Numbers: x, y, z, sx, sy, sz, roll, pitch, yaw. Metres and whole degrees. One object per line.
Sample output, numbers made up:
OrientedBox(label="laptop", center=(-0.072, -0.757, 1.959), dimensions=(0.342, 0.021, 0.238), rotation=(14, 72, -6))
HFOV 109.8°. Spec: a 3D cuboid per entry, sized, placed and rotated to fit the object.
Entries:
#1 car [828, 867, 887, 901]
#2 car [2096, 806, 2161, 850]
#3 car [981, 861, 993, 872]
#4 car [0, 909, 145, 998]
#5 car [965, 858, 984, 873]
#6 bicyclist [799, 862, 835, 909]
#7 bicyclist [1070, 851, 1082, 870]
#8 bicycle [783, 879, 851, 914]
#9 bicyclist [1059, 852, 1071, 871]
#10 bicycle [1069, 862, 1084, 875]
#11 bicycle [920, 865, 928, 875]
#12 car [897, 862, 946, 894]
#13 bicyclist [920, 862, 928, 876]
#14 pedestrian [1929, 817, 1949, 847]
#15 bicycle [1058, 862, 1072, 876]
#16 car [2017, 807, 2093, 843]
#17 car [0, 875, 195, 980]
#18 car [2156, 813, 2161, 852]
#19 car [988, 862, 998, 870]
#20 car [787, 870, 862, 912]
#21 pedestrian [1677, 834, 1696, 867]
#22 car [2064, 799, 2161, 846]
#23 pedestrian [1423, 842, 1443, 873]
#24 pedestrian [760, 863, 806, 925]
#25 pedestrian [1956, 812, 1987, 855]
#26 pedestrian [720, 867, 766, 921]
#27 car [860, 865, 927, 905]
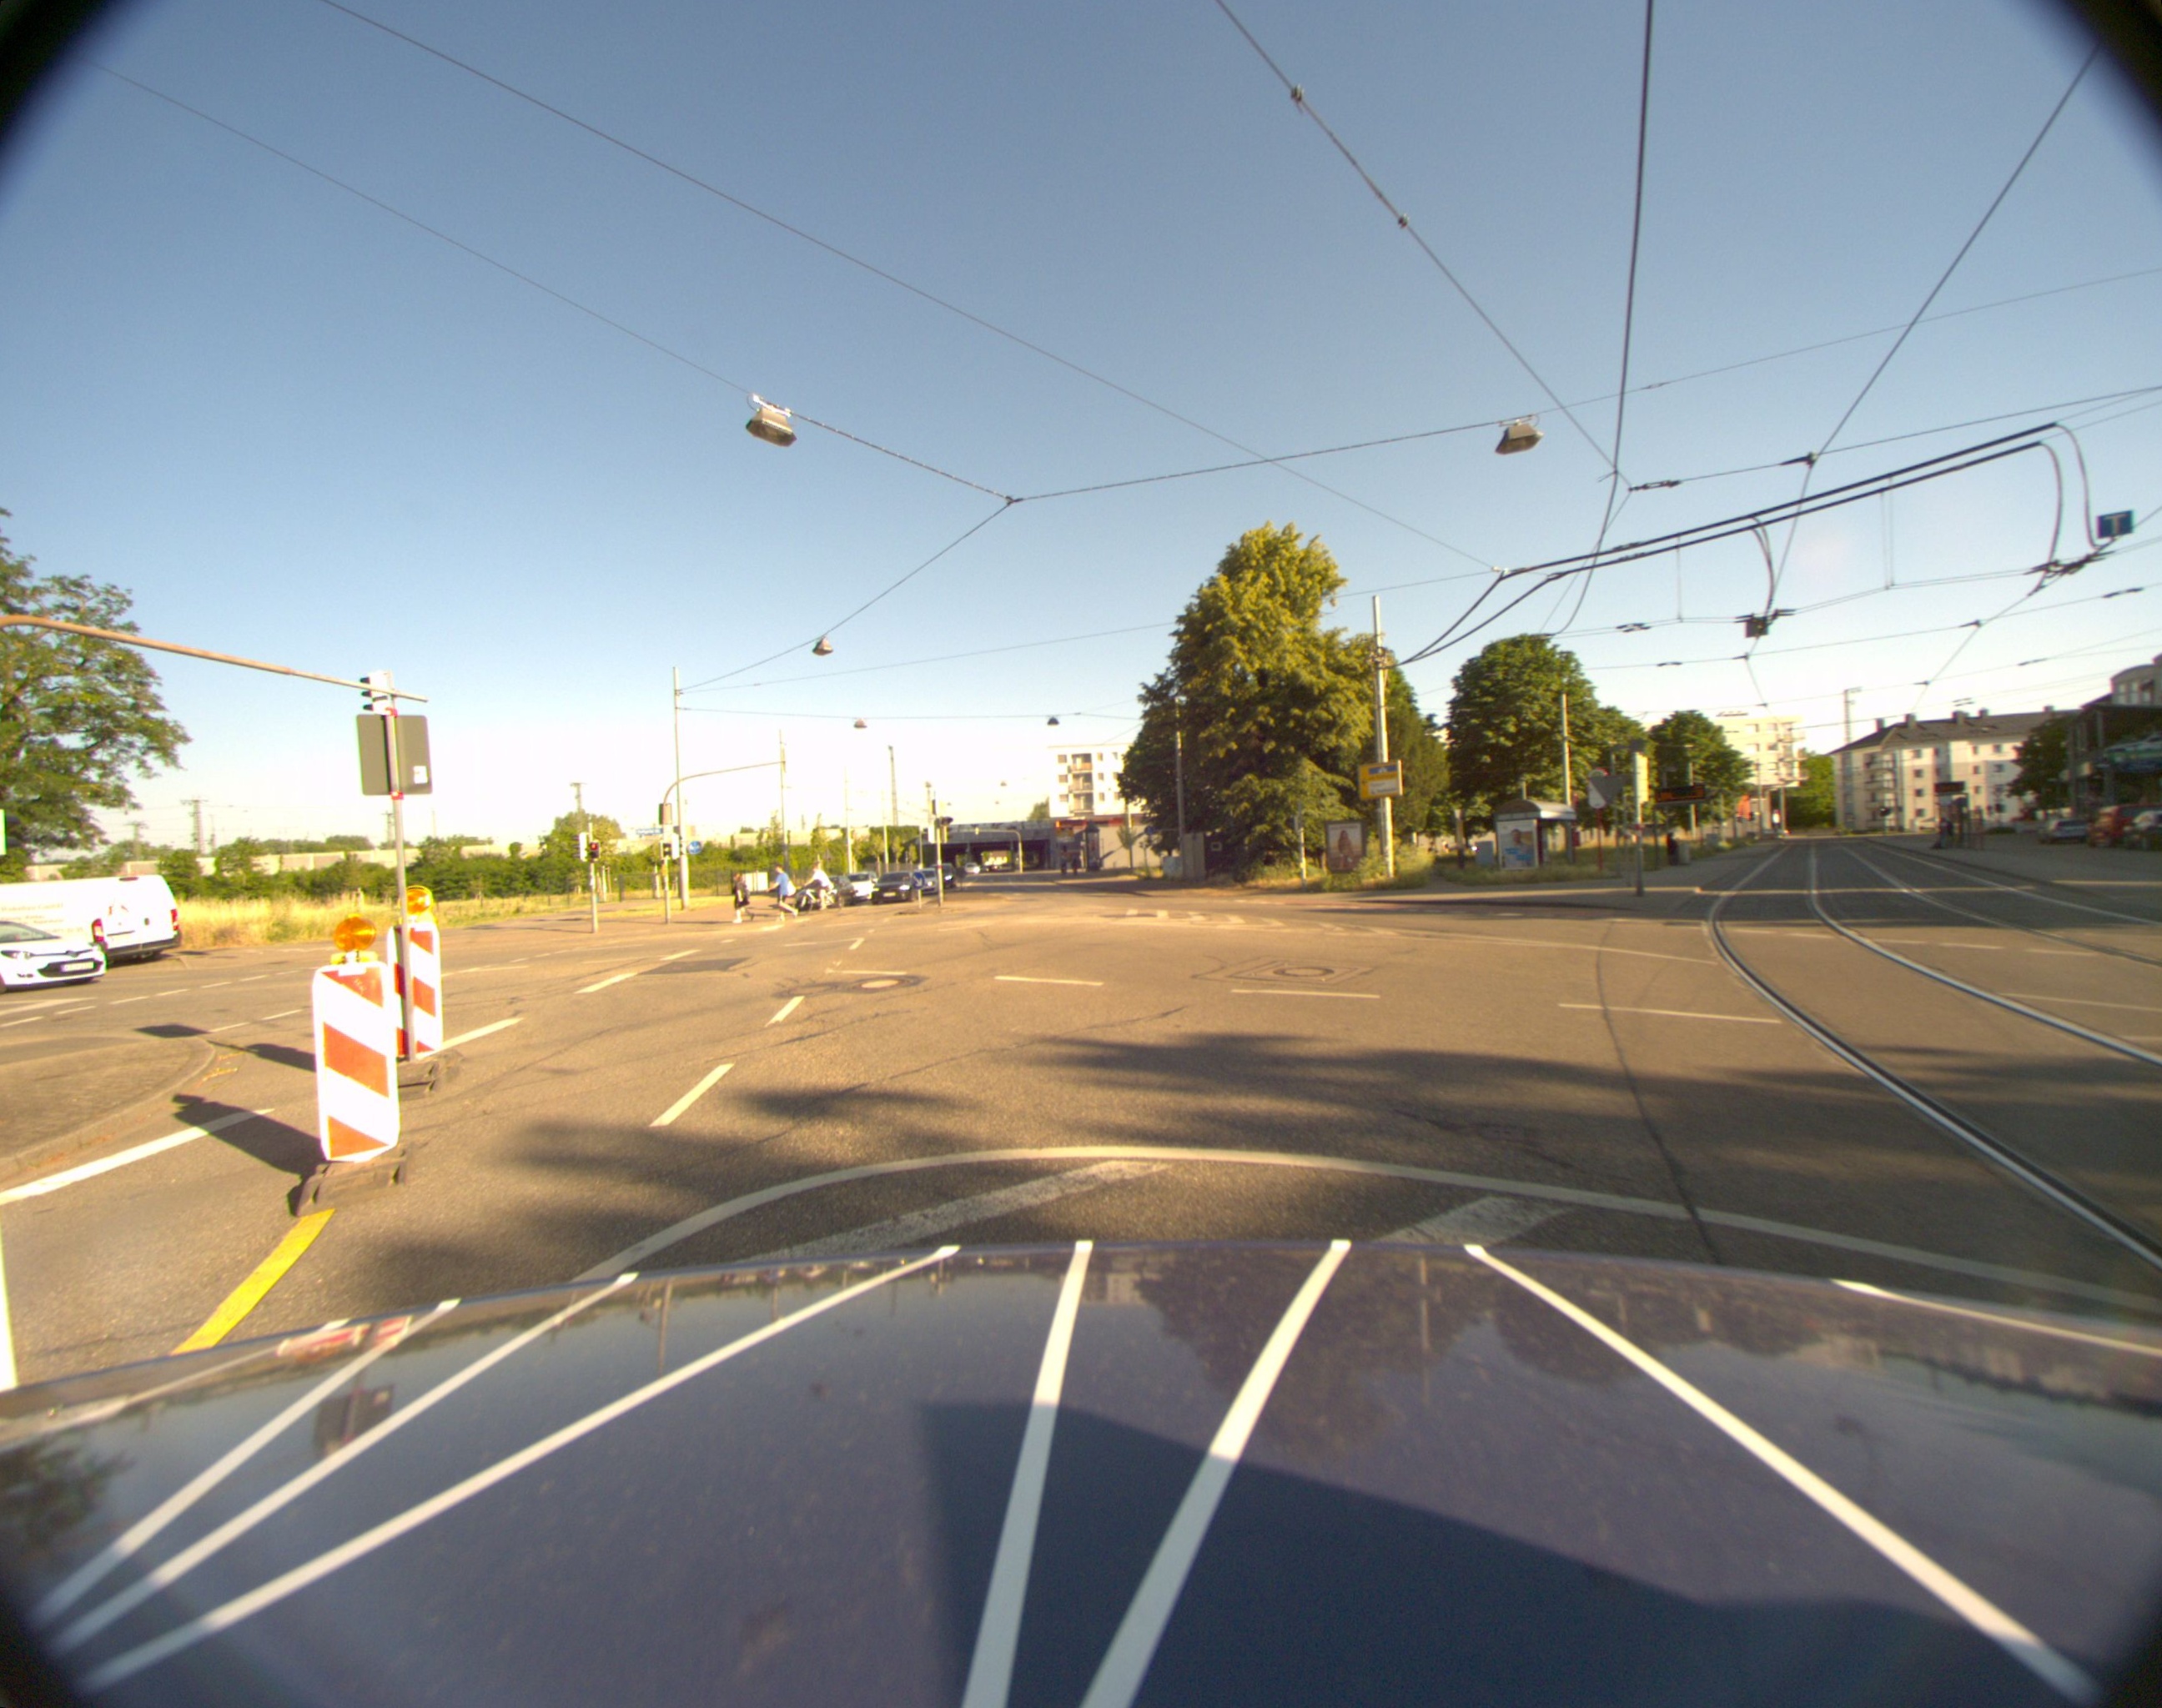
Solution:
OrientedBox(label="car", center=(-11.773, 1.551, 40.287), dimensions=(1.999, 1.558, 4.273), rotation=(-3, 0, -3))
OrientedBox(label="car", center=(45.086, -1.132, 32.106), dimensions=(1.840, 1.658, 4.378), rotation=(-5, -2, 44))
OrientedBox(label="car", center=(-16.212, 2.183, 130.893), dimensions=(2.000, 1.694, 3.998), rotation=(-3, 0, -7))
OrientedBox(label="car", center=(-21.039, 1.958, 14.524), dimensions=(3.775, 1.460, 1.705), rotation=(-3, 0, -7))
OrientedBox(label="car", center=(-12.929, 1.403, 92.381), dimensions=(1.999, 1.693, 3.999), rotation=(-3, 0, -4))
OrientedBox(label="bicyclist", center=(-9.660, 1.145, 27.816), dimensions=(1.042, 1.619, 0.713), rotation=(-3, 1, -9))
OrientedBox(label="bicyclist", center=(-0.427, 0.570, 63.108), dimensions=(0.661, 1.523, 1.036), rotation=(-3, 1, -14))
OrientedBox(label="bicycle", center=(-9.633, 1.537, 27.821), dimensions=(2.201, 1.135, 0.700), rotation=(-3, 1, -11))
OrientedBox(label="bicyclist", center=(-1.330, 0.647, 62.658), dimensions=(0.698, 1.523, 1.036), rotation=(-3, 1, -15))
OrientedBox(label="bicycle", center=(-0.380, 1.194, 63.023), dimensions=(0.664, 1.063, 2.017), rotation=(-3, 0, -14))
OrientedBox(label="bicycle", center=(-18.395, 1.880, 89.019), dimensions=(0.663, 1.063, 2.018), rotation=(-3, 0, -5))
OrientedBox(label="car", center=(-8.971, 1.328, 43.111), dimensions=(1.999, 1.558, 4.455), rotation=(-3, 0, -3))
OrientedBox(label="bicyclist", center=(-18.412, 1.707, 89.019), dimensions=(0.777, 1.596, 0.857), rotation=(-2, 0, -6))
OrientedBox(label="pedestrian", center=(43.970, -1.128, 38.946), dimensions=(0.679, 1.492, 0.567), rotation=(-3, 0, -34))
OrientedBox(label="bicycle", center=(-1.306, 1.233, 62.687), dimensions=(0.664, 1.063, 2.016), rotation=(-3, 0, -15))
OrientedBox(label="car", center=(59.836, -1.793, 46.795), dimensions=(2.052, 1.950, 5.160), rotation=(-5, -2, 44))
OrientedBox(label="car", center=(-28.207, 1.987, 20.371), dimensions=(5.560, 2.423, 2.234), rotation=(-3, 3, -8))
OrientedBox(label="car", center=(39.743, -0.809, 26.471), dimensions=(1.840, 1.439, 3.966), rotation=(-5, -2, 44))
OrientedBox(label="car", center=(-19.609, 2.676, 169.400), dimensions=(1.999, 1.694, 3.999), rotation=(-3, 0, -3))
OrientedBox(label="car", center=(-11.244, 1.583, 33.677), dimensions=(1.999, 1.558, 4.273), rotation=(-4, 0, -3))
OrientedBox(label="pedestrian", center=(26.486, -0.145, 33.254), dimensions=(0.596, 1.418, 0.507), rotation=(-2, 1, 36))
OrientedBox(label="car", center=(49.731, -1.524, 36.594), dimensions=(2.052, 1.950, 5.160), rotation=(-5, -2, 44))
OrientedBox(label="pedestrian", center=(17.470, 0.166, 37.719), dimensions=(0.670, 1.484, 0.851), rotation=(-2, 0, 10))
OrientedBox(label="pedestrian", center=(-9.639, 1.268, 24.626), dimensions=(1.067, 1.914, 0.914), rotation=(-3, 0, -5))
OrientedBox(label="pedestrian", center=(42.892, -0.991, 36.609), dimensions=(0.770, 2.002, 0.921), rotation=(-3, 0, -41))
OrientedBox(label="pedestrian", center=(-11.288, 1.316, 25.413), dimensions=(1.067, 1.737, 0.914), rotation=(-3, 0, -5))
OrientedBox(label="car", center=(-8.498, 1.351, 34.920), dimensions=(2.053, 1.558, 4.449), rotation=(-3, 0, -2))
